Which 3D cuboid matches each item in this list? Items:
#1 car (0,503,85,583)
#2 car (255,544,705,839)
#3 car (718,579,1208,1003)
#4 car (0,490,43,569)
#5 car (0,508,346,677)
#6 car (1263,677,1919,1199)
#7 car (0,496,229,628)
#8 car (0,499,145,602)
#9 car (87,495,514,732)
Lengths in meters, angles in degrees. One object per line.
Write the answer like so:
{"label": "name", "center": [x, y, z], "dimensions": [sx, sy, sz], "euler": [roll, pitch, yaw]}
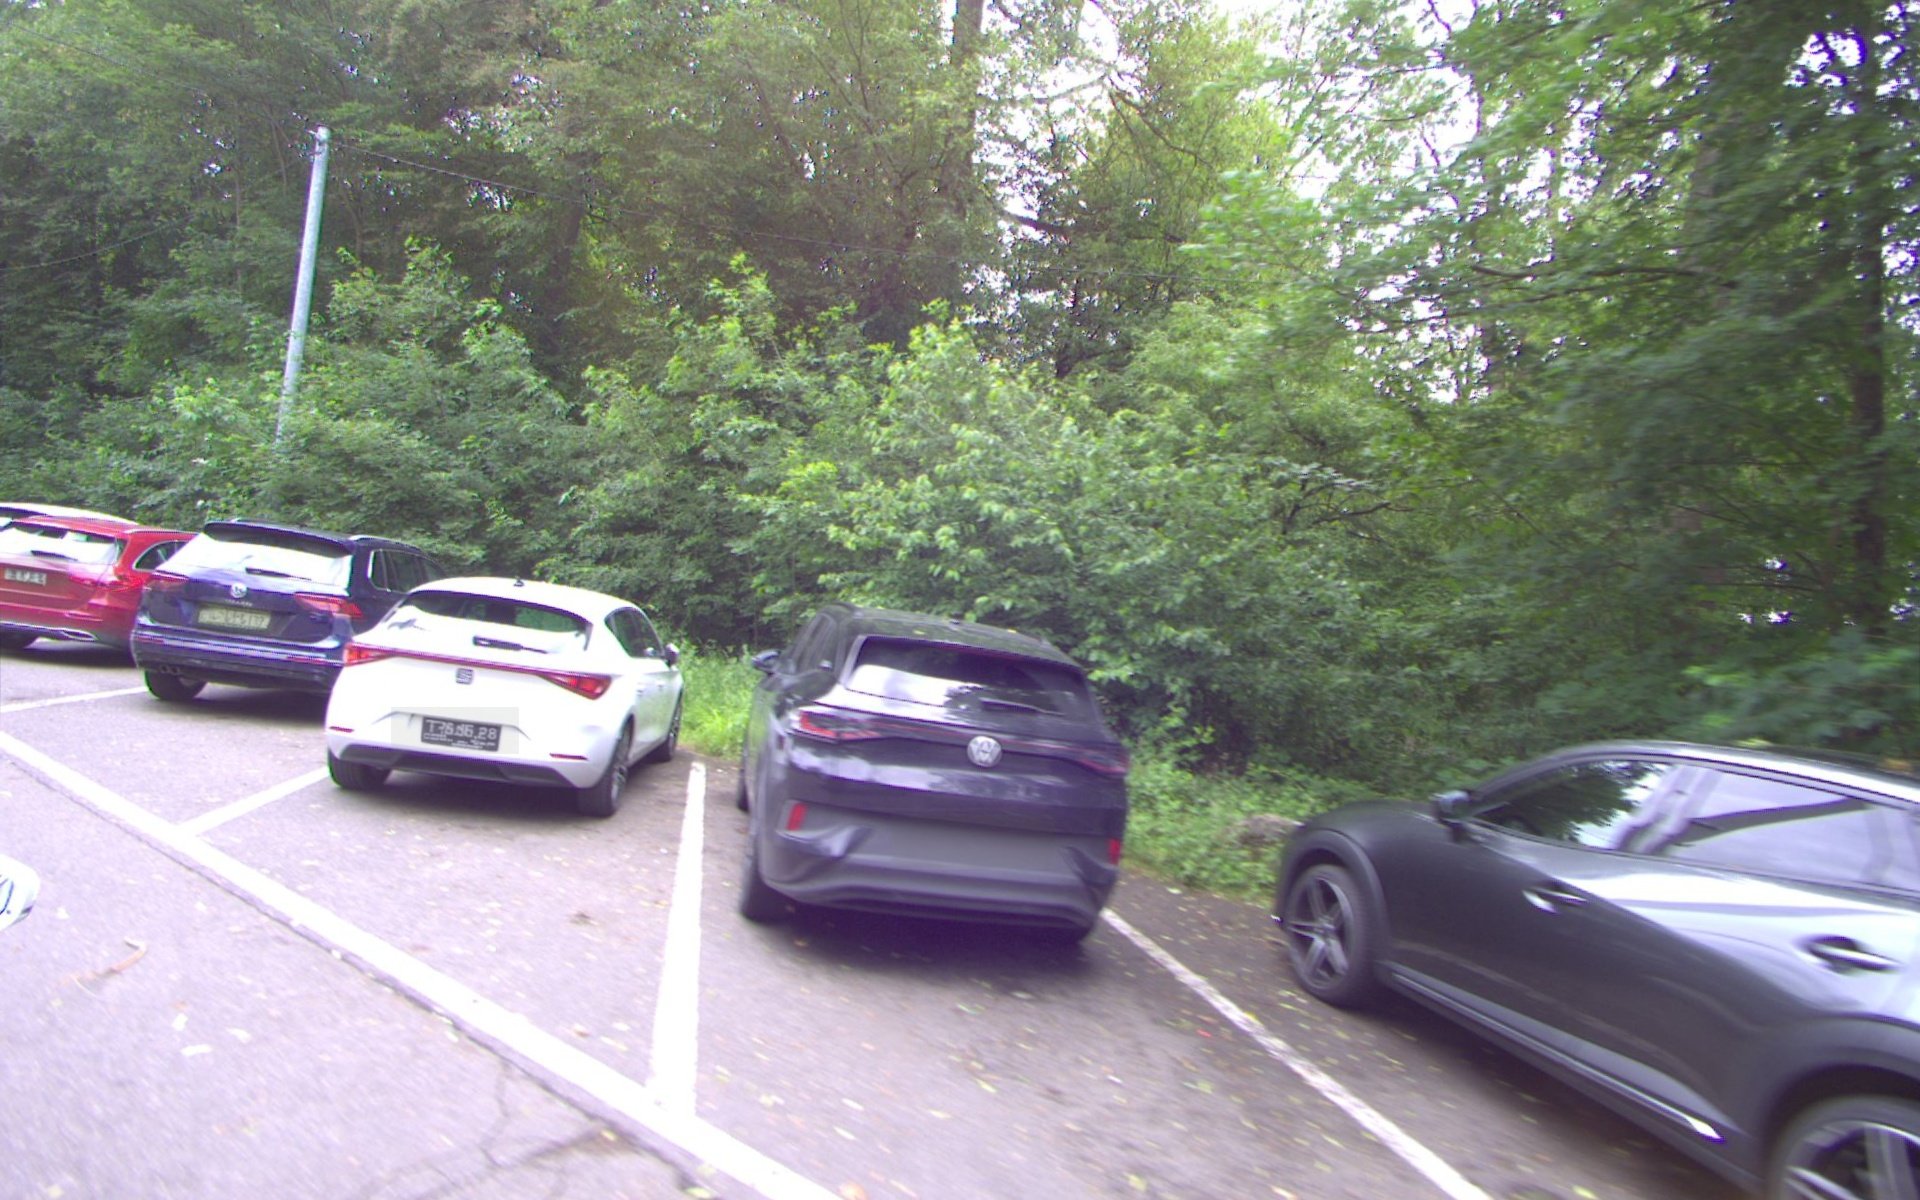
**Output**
{"label": "car", "center": [-18.326, -1.168, 18.139], "dimensions": [1.935, 1.393, 4.253], "euler": [8, -1, -13]}
{"label": "car", "center": [-3.223, 0.570, 7.784], "dimensions": [1.838, 1.455, 4.116], "euler": [8, -2, -8]}
{"label": "car", "center": [-0.408, 0.850, 6.267], "dimensions": [1.927, 1.598, 4.194], "euler": [8, -2, -13]}
{"label": "car", "center": [-21.490, -1.672, 20.581], "dimensions": [1.934, 1.655, 4.255], "euler": [8, -1, -11]}
{"label": "car", "center": [-9.174, -0.082, 11.532], "dimensions": [1.895, 1.430, 4.293], "euler": [8, -2, -7]}
{"label": "car", "center": [2.952, 1.284, 3.819], "dimensions": [1.673, 1.509, 3.785], "euler": [8, -2, -12]}
{"label": "car", "center": [-12.279, -0.520, 14.091], "dimensions": [1.706, 1.522, 3.578], "euler": [8, -1, -9]}
{"label": "car", "center": [-15.112, -0.833, 15.733], "dimensions": [1.775, 1.474, 4.179], "euler": [8, -1, -11]}
{"label": "car", "center": [-6.113, 0.153, 10.033], "dimensions": [1.811, 1.636, 4.116], "euler": [8, -2, -8]}
